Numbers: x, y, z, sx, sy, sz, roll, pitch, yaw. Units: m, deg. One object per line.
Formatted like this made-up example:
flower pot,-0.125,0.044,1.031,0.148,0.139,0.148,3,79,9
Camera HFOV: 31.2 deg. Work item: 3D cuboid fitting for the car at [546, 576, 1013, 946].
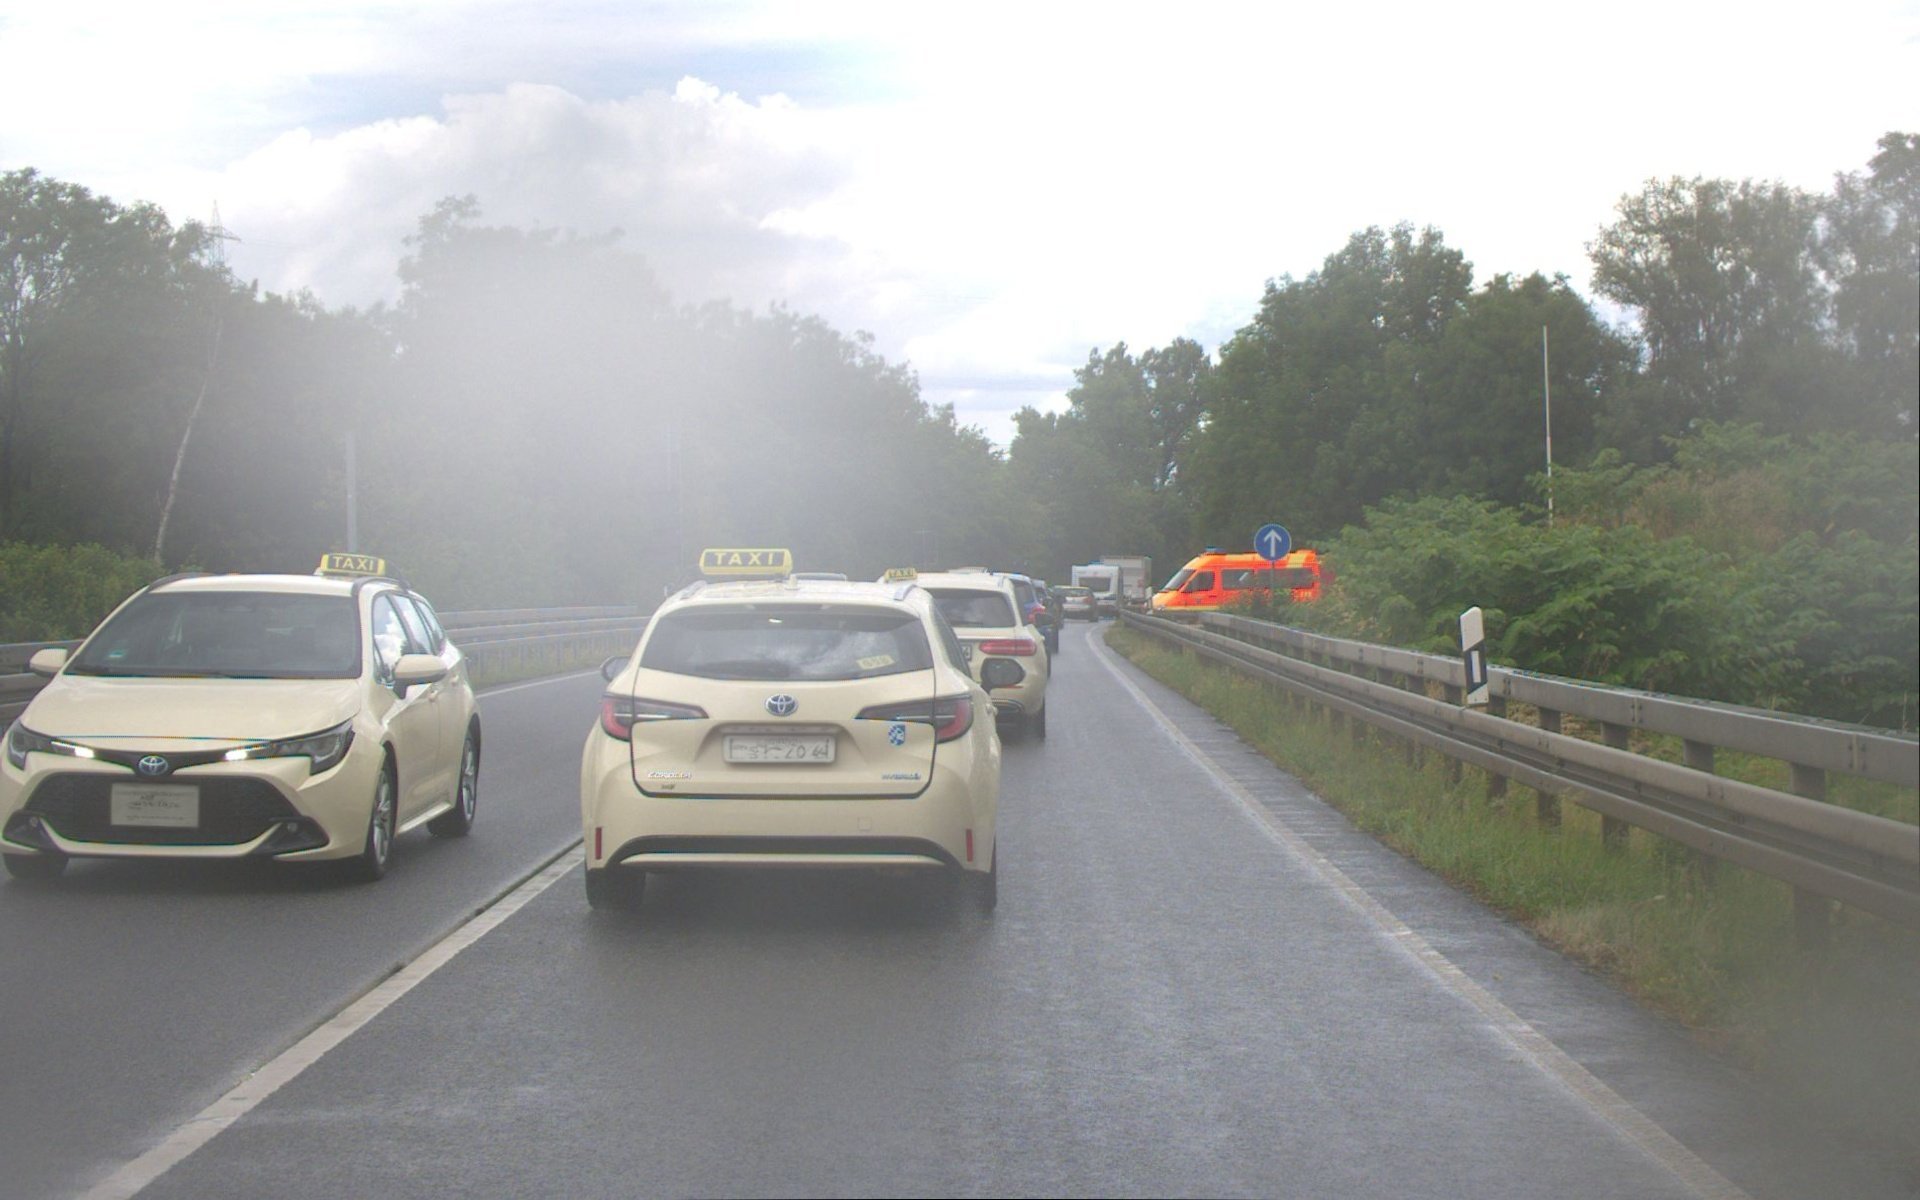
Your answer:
car,-0.722,0.631,15.852,1.854,1.389,4.171,1,1,0

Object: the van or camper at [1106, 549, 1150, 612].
van or camper,9.653,-1.166,197.526,2.333,3.550,6.306,1,1,2

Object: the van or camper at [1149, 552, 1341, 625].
van or camper,9.035,-0.358,109.052,5.676,2.234,2.021,1,1,-14

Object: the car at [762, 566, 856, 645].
car,-3.154,0.096,72.415,1.779,1.556,4.302,1,1,0

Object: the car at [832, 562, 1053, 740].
car,-0.147,0.411,31.280,1.854,1.438,4.171,1,1,0

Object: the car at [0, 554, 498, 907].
car,-3.566,0.539,17.302,1.810,1.504,4.611,1,1,0

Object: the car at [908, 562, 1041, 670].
car,0.206,0.204,50.243,1.854,1.438,4.171,1,1,0

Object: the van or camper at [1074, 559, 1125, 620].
van or camper,6.823,-0.540,168.677,2.333,2.854,6.306,1,1,2

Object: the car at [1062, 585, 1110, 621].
car,5.347,0.118,145.467,1.854,1.438,4.170,1,1,4
